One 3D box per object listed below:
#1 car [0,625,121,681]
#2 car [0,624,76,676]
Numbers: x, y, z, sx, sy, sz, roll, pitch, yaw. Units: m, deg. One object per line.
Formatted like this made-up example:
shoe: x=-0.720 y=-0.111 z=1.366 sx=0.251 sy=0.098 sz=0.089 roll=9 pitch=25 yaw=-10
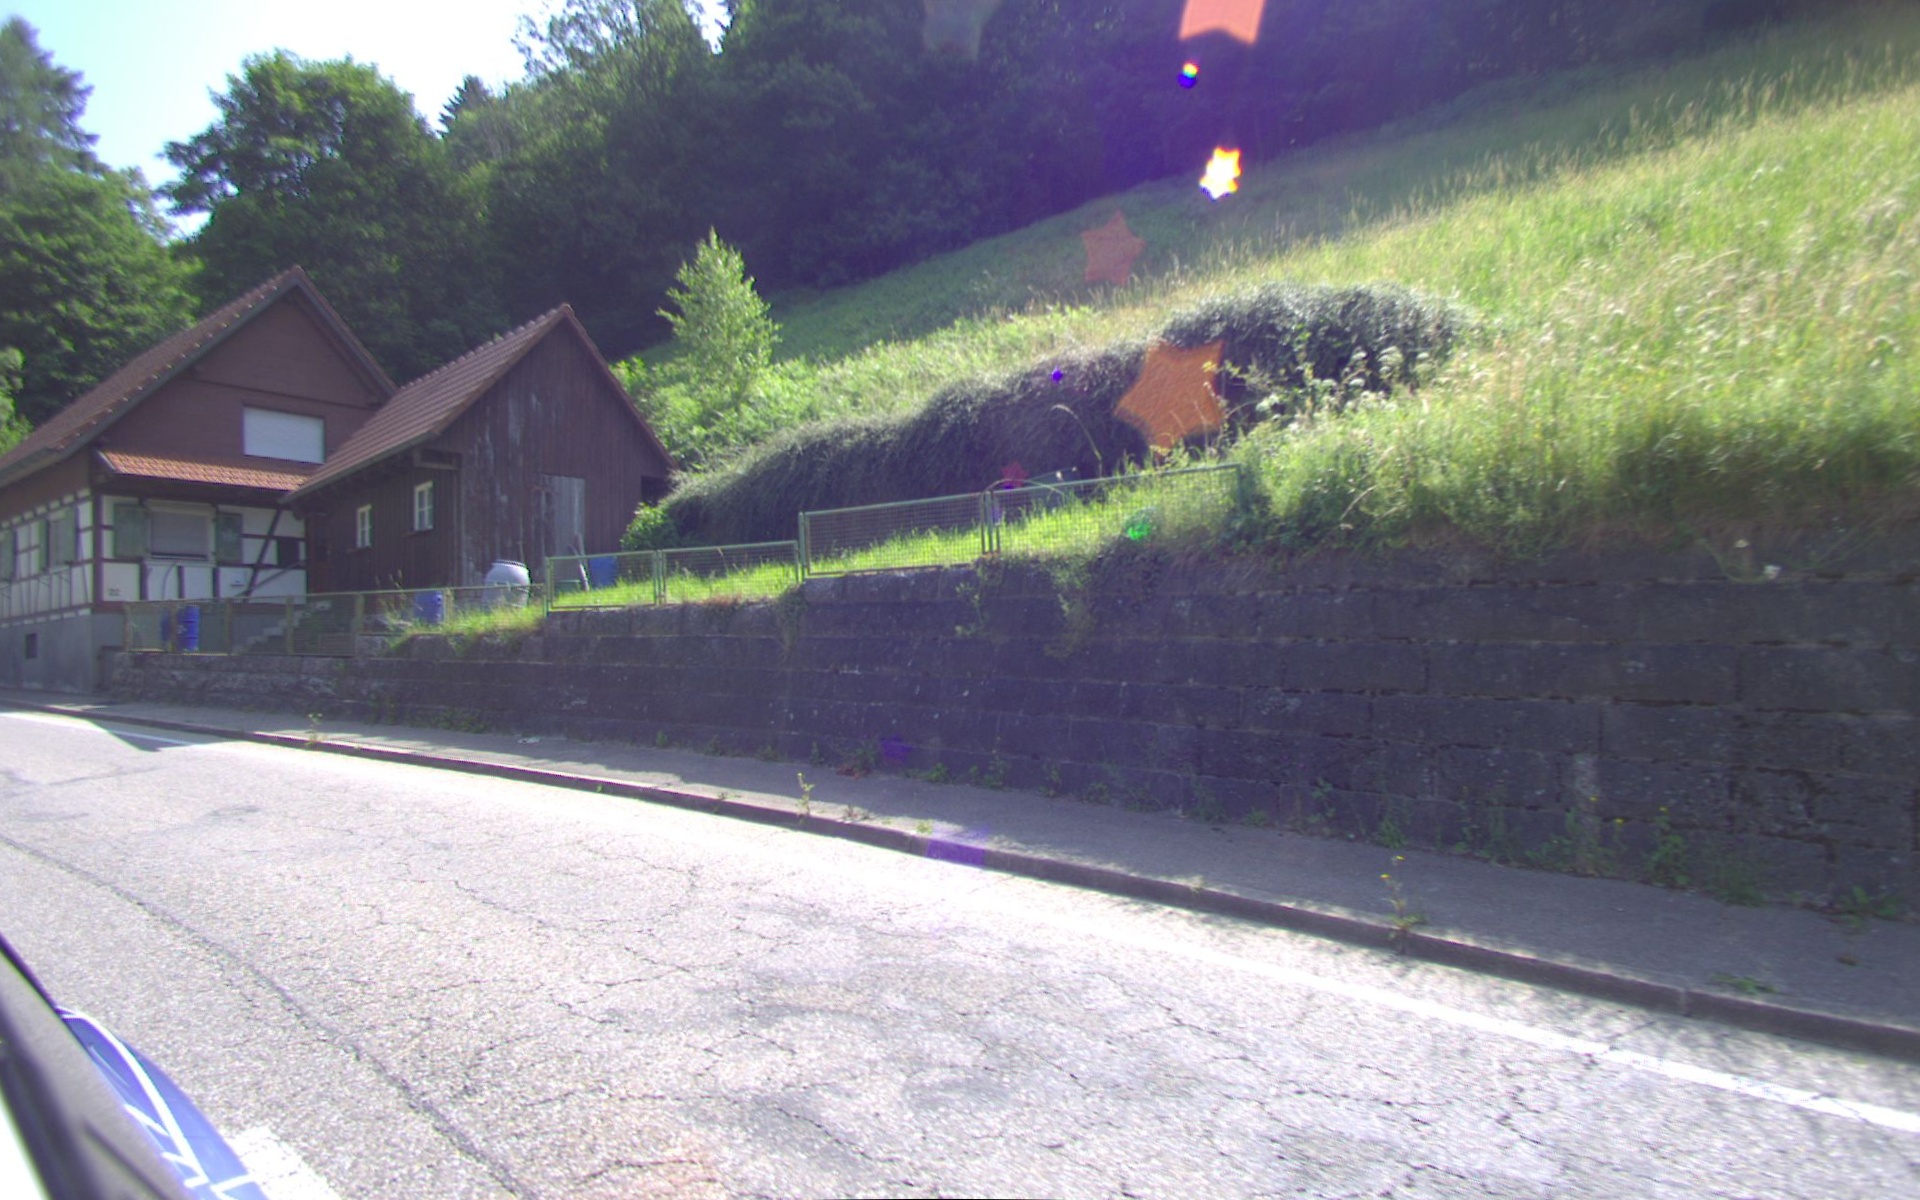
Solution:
car: x=-25.762 y=1.428 z=27.785 sx=1.856 sy=1.444 sz=3.789 roll=0 pitch=-1 yaw=30
car: x=-28.095 y=1.448 z=28.993 sx=1.850 sy=1.427 sz=3.790 roll=-1 pitch=0 yaw=30
